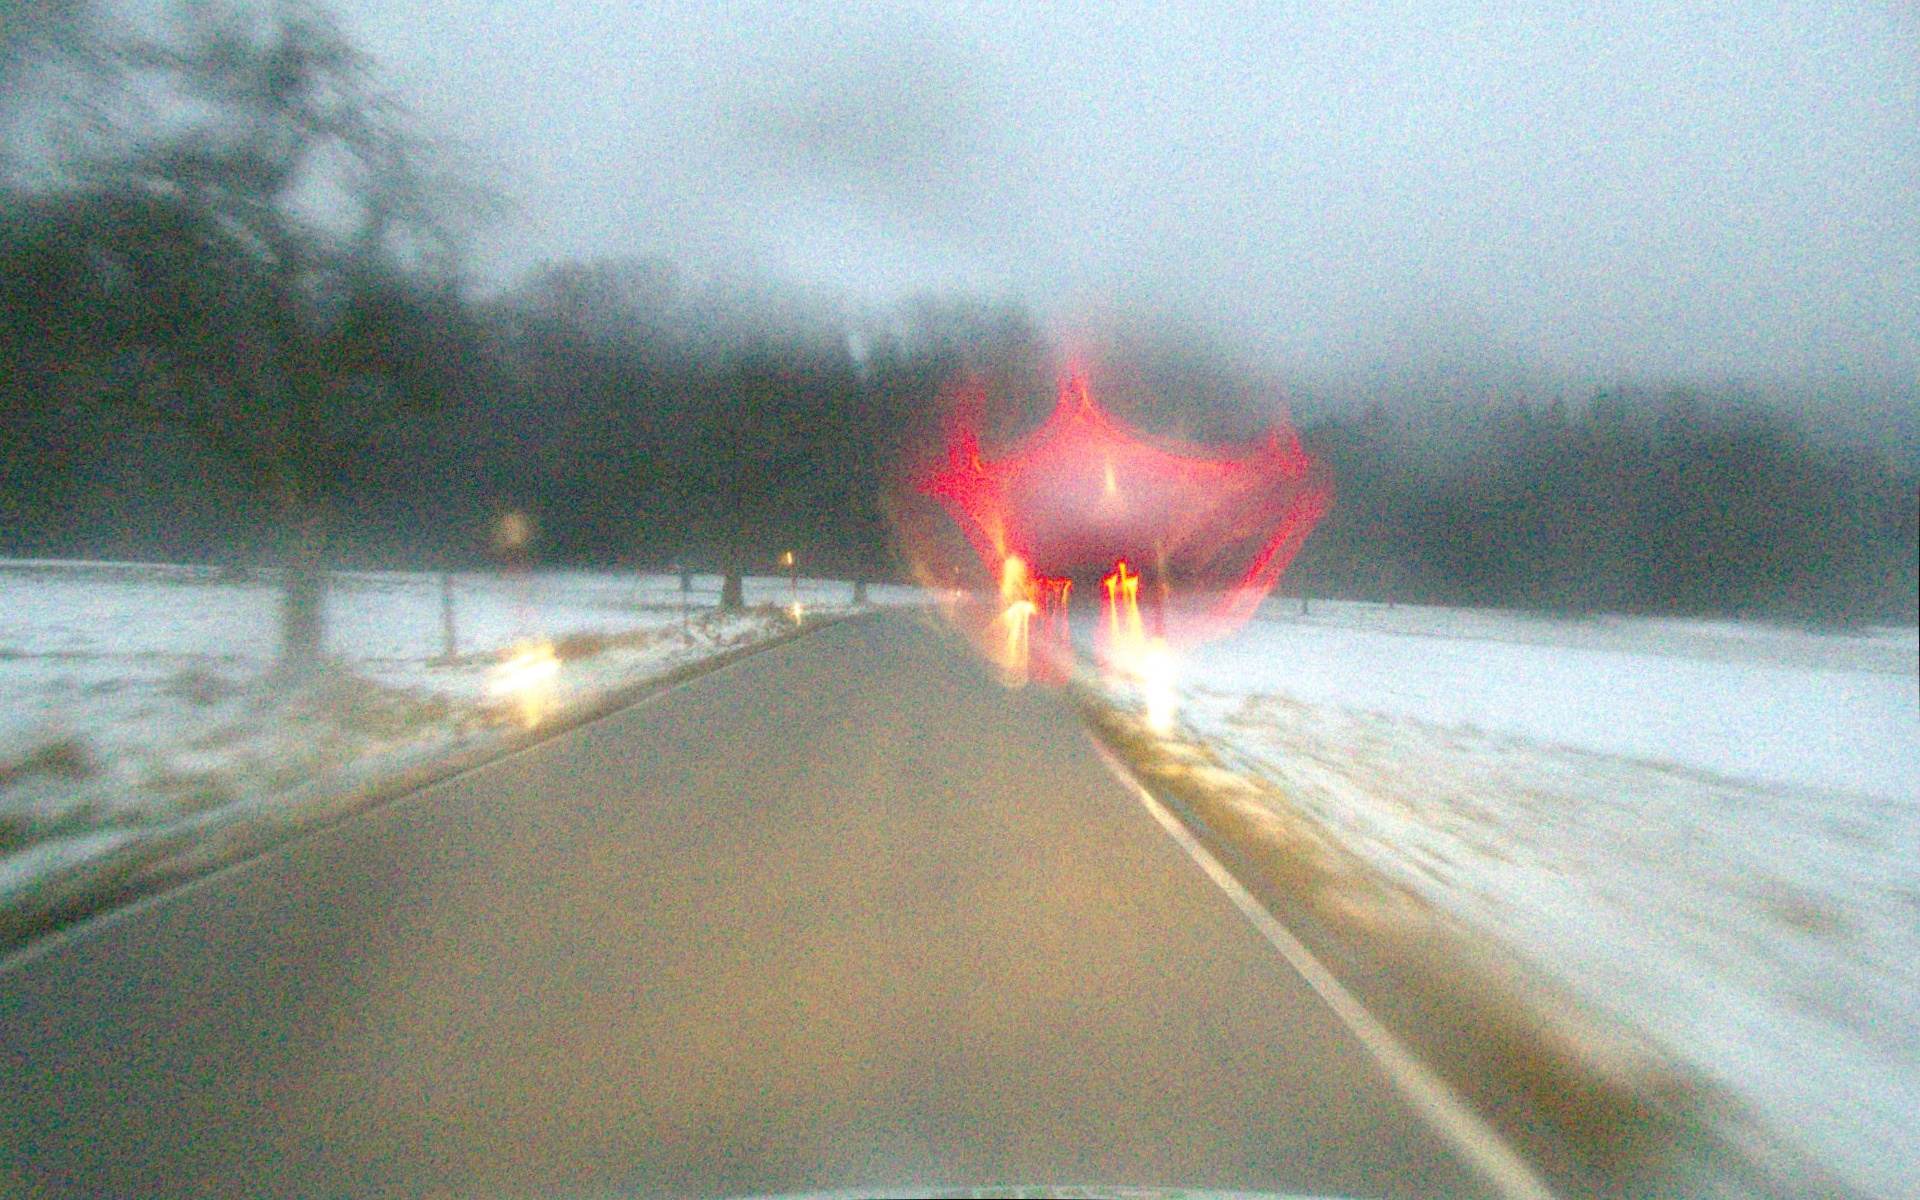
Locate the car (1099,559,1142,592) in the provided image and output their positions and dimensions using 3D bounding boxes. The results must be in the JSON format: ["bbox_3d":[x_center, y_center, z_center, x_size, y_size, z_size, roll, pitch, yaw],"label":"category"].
[{"bbox_3d":[13.404,-2.061,137.946,2.206,2.691,5.006,1,1,22],"label":"car"}]

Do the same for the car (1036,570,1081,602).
[{"bbox_3d":[6.787,-0.953,113.772,1.953,2.087,4.001,4,2,20],"label":"car"}]
